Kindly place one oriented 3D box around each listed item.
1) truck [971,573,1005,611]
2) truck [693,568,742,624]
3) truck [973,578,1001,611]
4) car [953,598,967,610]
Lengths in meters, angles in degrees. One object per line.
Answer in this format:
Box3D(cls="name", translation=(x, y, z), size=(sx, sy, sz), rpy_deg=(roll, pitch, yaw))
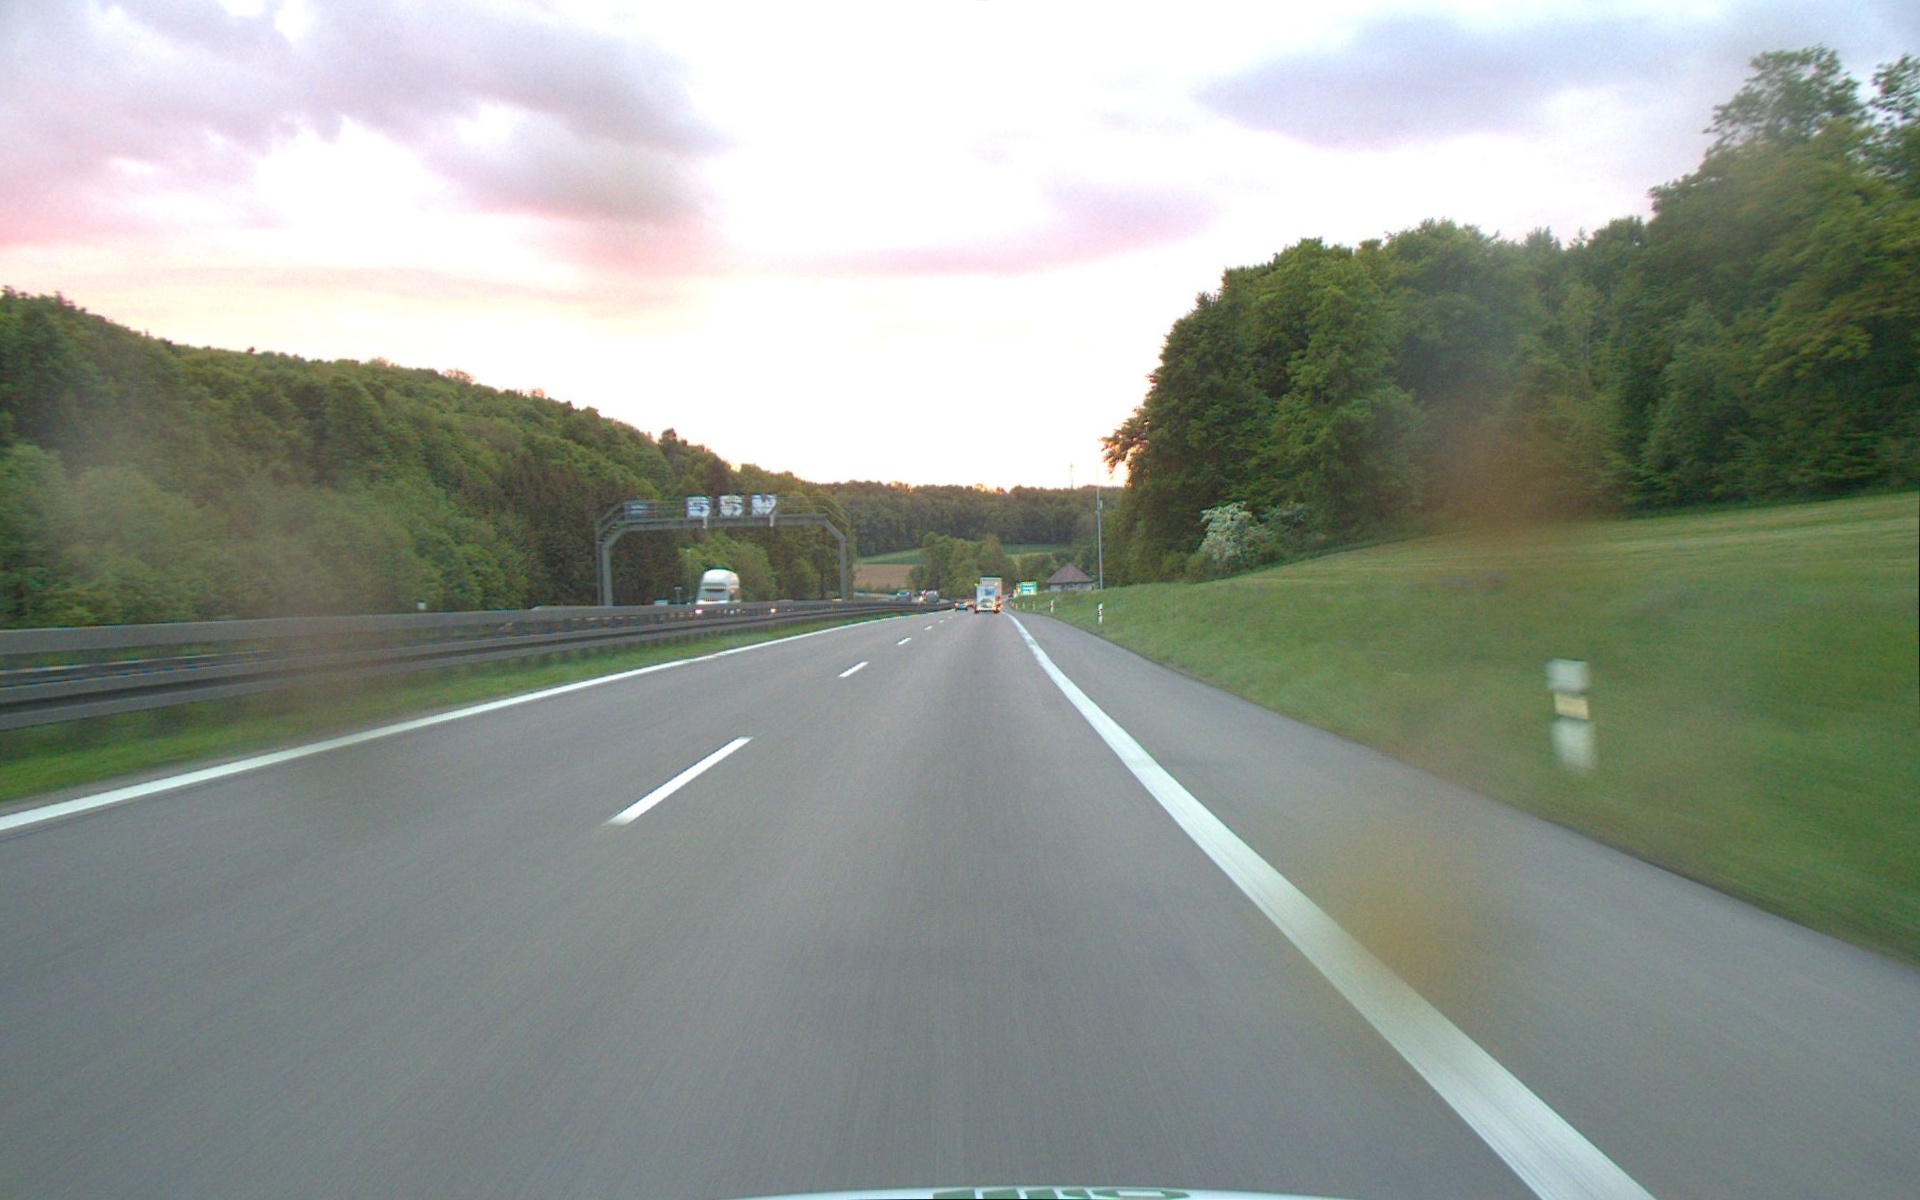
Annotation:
Box3D(cls="truck", translation=(3.404, -1.033, 203.445), size=(3.877, 4.361, 14.324), rpy_deg=(-1, 1, 0))
Box3D(cls="truck", translation=(-14.057, -0.251, 96.084), size=(1.952, 3.121, 5.594), rpy_deg=(0, 0, 0))
Box3D(cls="truck", translation=(2.555, -0.531, 153.244), size=(2.228, 2.711, 5.240), rpy_deg=(-2, 2, 4))
Box3D(cls="car", translation=(0.037, 0.593, 229.121), size=(1.953, 1.543, 4.000), rpy_deg=(-1, 1, 0))
